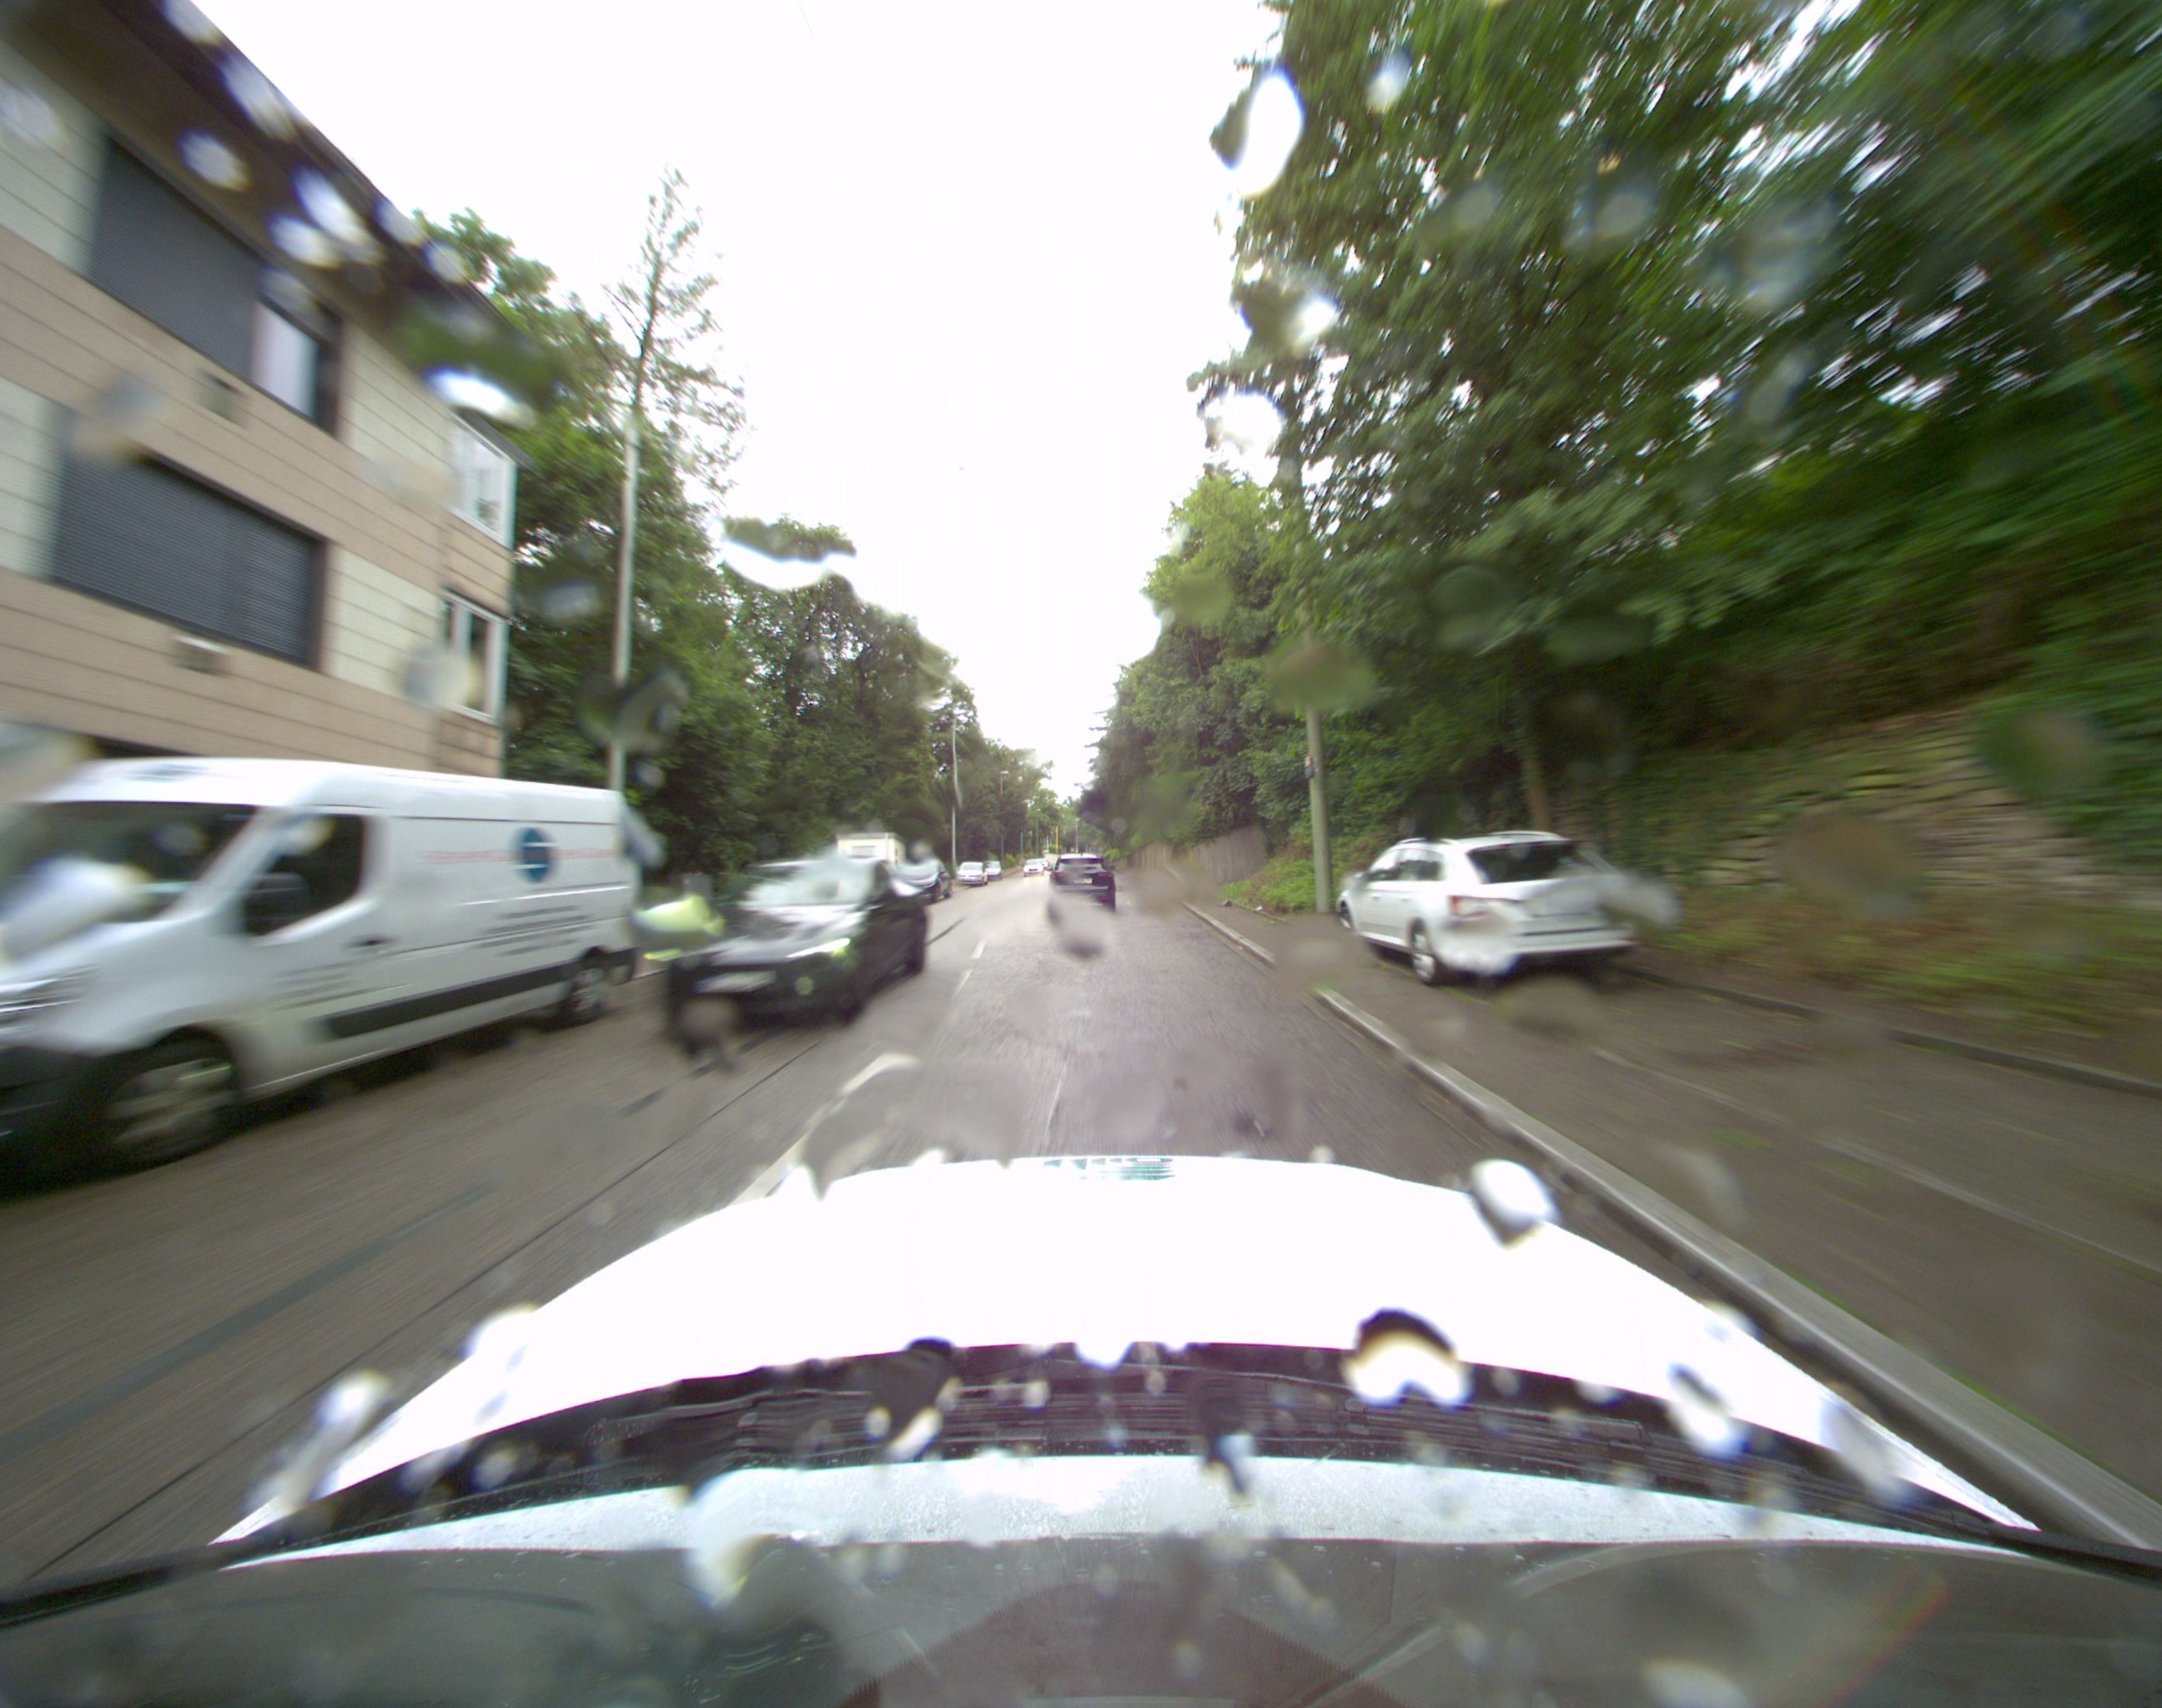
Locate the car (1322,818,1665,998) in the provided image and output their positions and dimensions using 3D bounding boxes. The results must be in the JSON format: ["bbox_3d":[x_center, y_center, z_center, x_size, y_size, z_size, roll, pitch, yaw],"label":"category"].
[{"bbox_3d":[4.348,0.476,9.587,1.732,1.478,4.743,-4,0,2],"label":"car"}]

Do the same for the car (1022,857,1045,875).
[{"bbox_3d":[-4.072,1.006,70.714,1.720,1.435,3.910,-4,0,-1],"label":"car"}]

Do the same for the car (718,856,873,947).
[{"bbox_3d":[-6.029,0.920,17.755,1.638,1.604,4.188,-4,0,2],"label":"car"}]

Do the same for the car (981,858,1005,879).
[{"bbox_3d":[-6.735,1.098,62.655,1.622,1.499,3.923,0,0,-3],"label":"car"}]

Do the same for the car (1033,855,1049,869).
[{"bbox_3d":[-4.711,0.956,96.213,1.756,1.491,3.997,-3,0,-2],"label":"car"}]

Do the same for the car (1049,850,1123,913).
[{"bbox_3d":[0.076,0.720,23.435,1.923,1.613,3.997,-1,0,-2],"label":"car"}]

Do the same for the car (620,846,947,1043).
[{"bbox_3d":[-2.943,0.783,9.291,1.929,1.625,4.500,-2,0,1],"label":"car"}]

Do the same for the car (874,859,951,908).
[{"bbox_3d":[-6.181,1.048,30.471,1.855,1.493,4.753,-5,0,-1],"label":"car"}]

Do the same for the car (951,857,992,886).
[{"bbox_3d":[-6.827,1.083,51.102,1.881,1.611,4.238,-4,0,-1],"label":"car"}]

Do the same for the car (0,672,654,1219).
[{"bbox_3d":[-6.032,0.481,6.474,2.109,2.551,5.445,-4,0,1],"label":"car"}]
